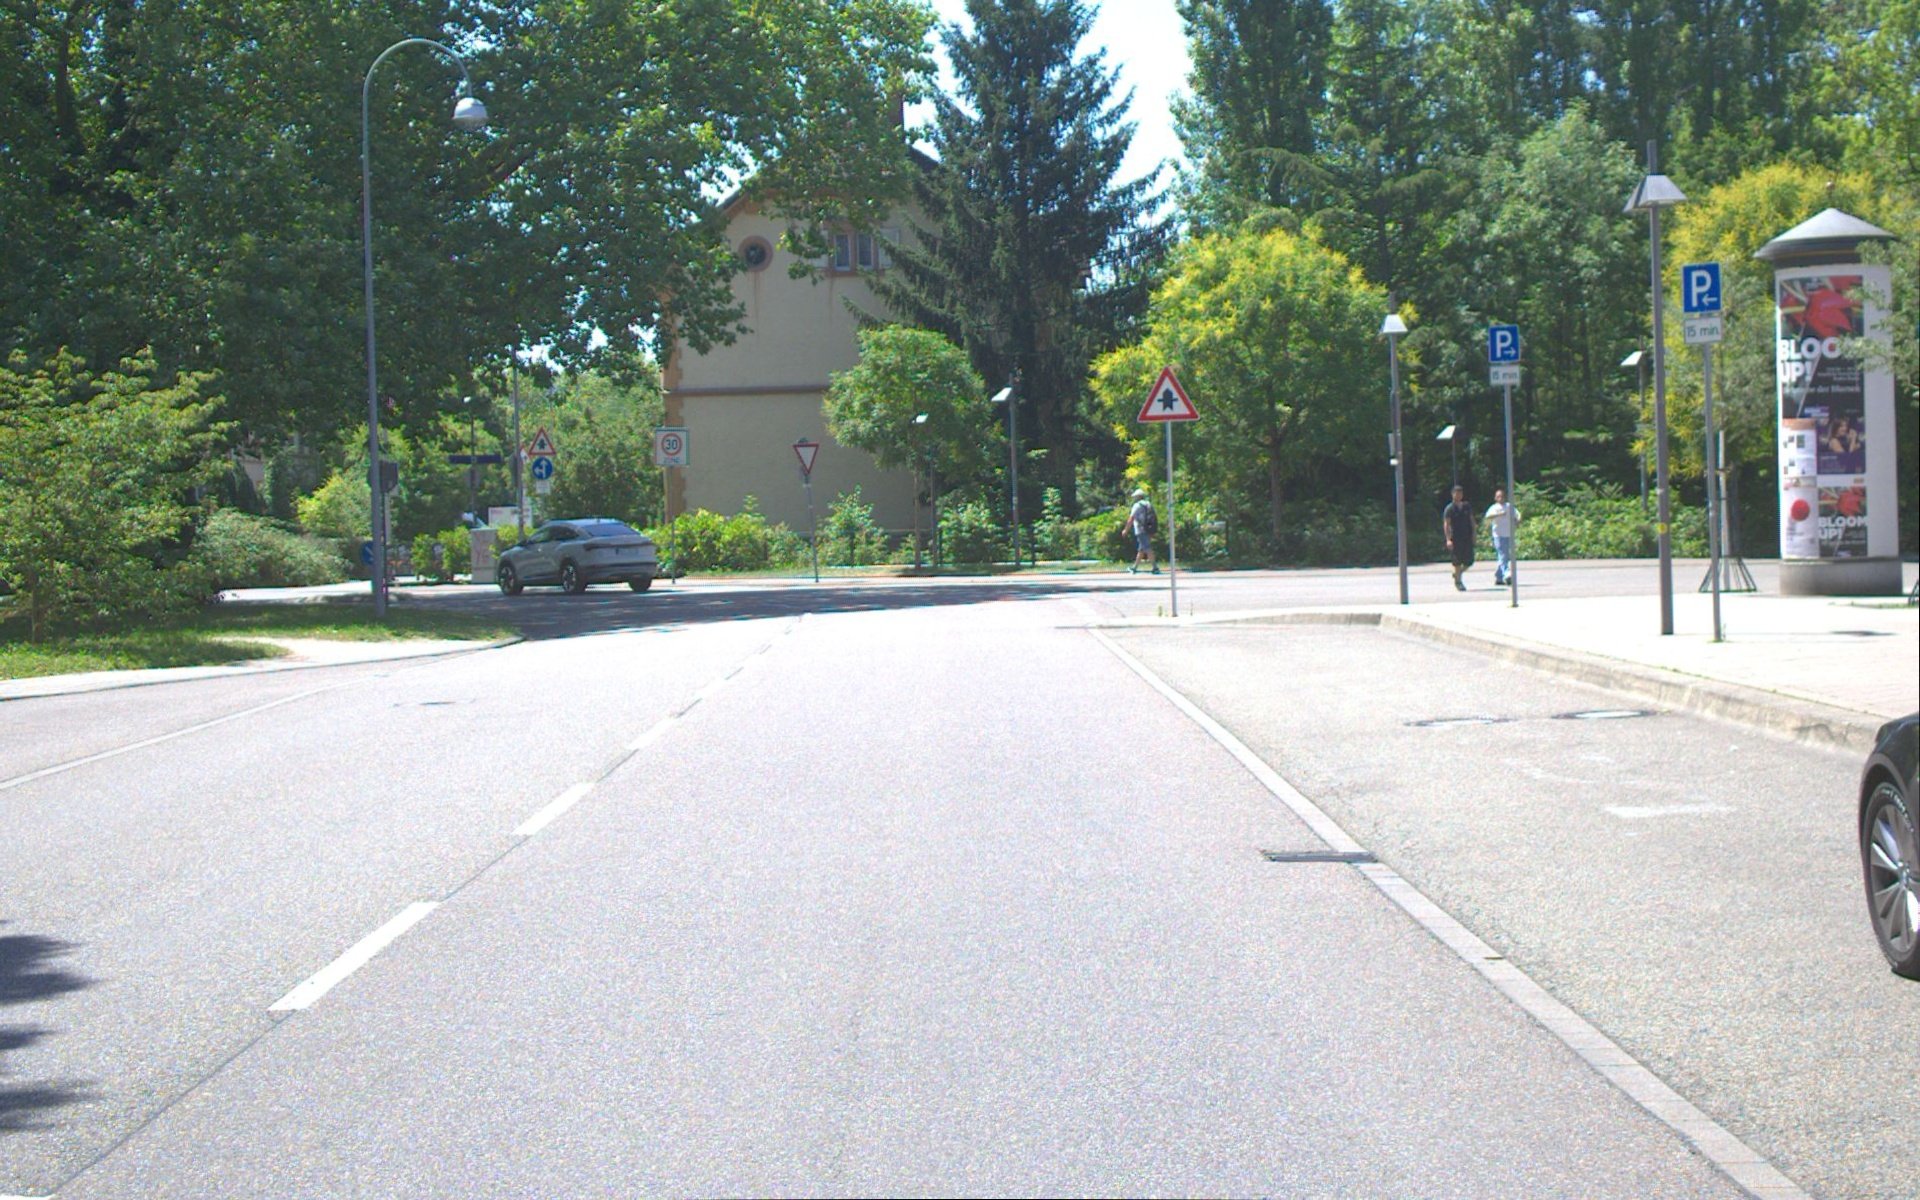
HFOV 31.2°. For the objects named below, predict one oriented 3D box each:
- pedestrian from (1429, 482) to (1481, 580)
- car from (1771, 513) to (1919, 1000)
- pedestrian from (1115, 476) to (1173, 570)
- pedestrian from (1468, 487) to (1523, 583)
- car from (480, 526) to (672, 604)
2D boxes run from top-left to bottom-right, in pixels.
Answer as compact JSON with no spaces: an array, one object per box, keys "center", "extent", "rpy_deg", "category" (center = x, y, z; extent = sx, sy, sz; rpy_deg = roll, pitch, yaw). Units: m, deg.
[{"center":[8.431,-1.173,58.553],"extent":[0.636,1.644,0.750],"rpy_deg":[-1,-1,28],"category":"pedestrian"},{"center":[3.854,0.448,9.537],"extent":[1.927,1.455,4.725],"rpy_deg":[-4,1,-1],"category":"car"},{"center":[3.895,-1.629,72.812],"extent":[0.804,1.959,0.856],"rpy_deg":[-2,2,-39],"category":"pedestrian"},{"center":[9.334,-1.132,59.934],"extent":[0.721,1.644,0.750],"rpy_deg":[-1,-1,28],"category":"pedestrian"},{"center":[-8.558,-0.787,76.383],"extent":[1.983,1.621,4.777],"rpy_deg":[-3,2,-38],"category":"car"}]
